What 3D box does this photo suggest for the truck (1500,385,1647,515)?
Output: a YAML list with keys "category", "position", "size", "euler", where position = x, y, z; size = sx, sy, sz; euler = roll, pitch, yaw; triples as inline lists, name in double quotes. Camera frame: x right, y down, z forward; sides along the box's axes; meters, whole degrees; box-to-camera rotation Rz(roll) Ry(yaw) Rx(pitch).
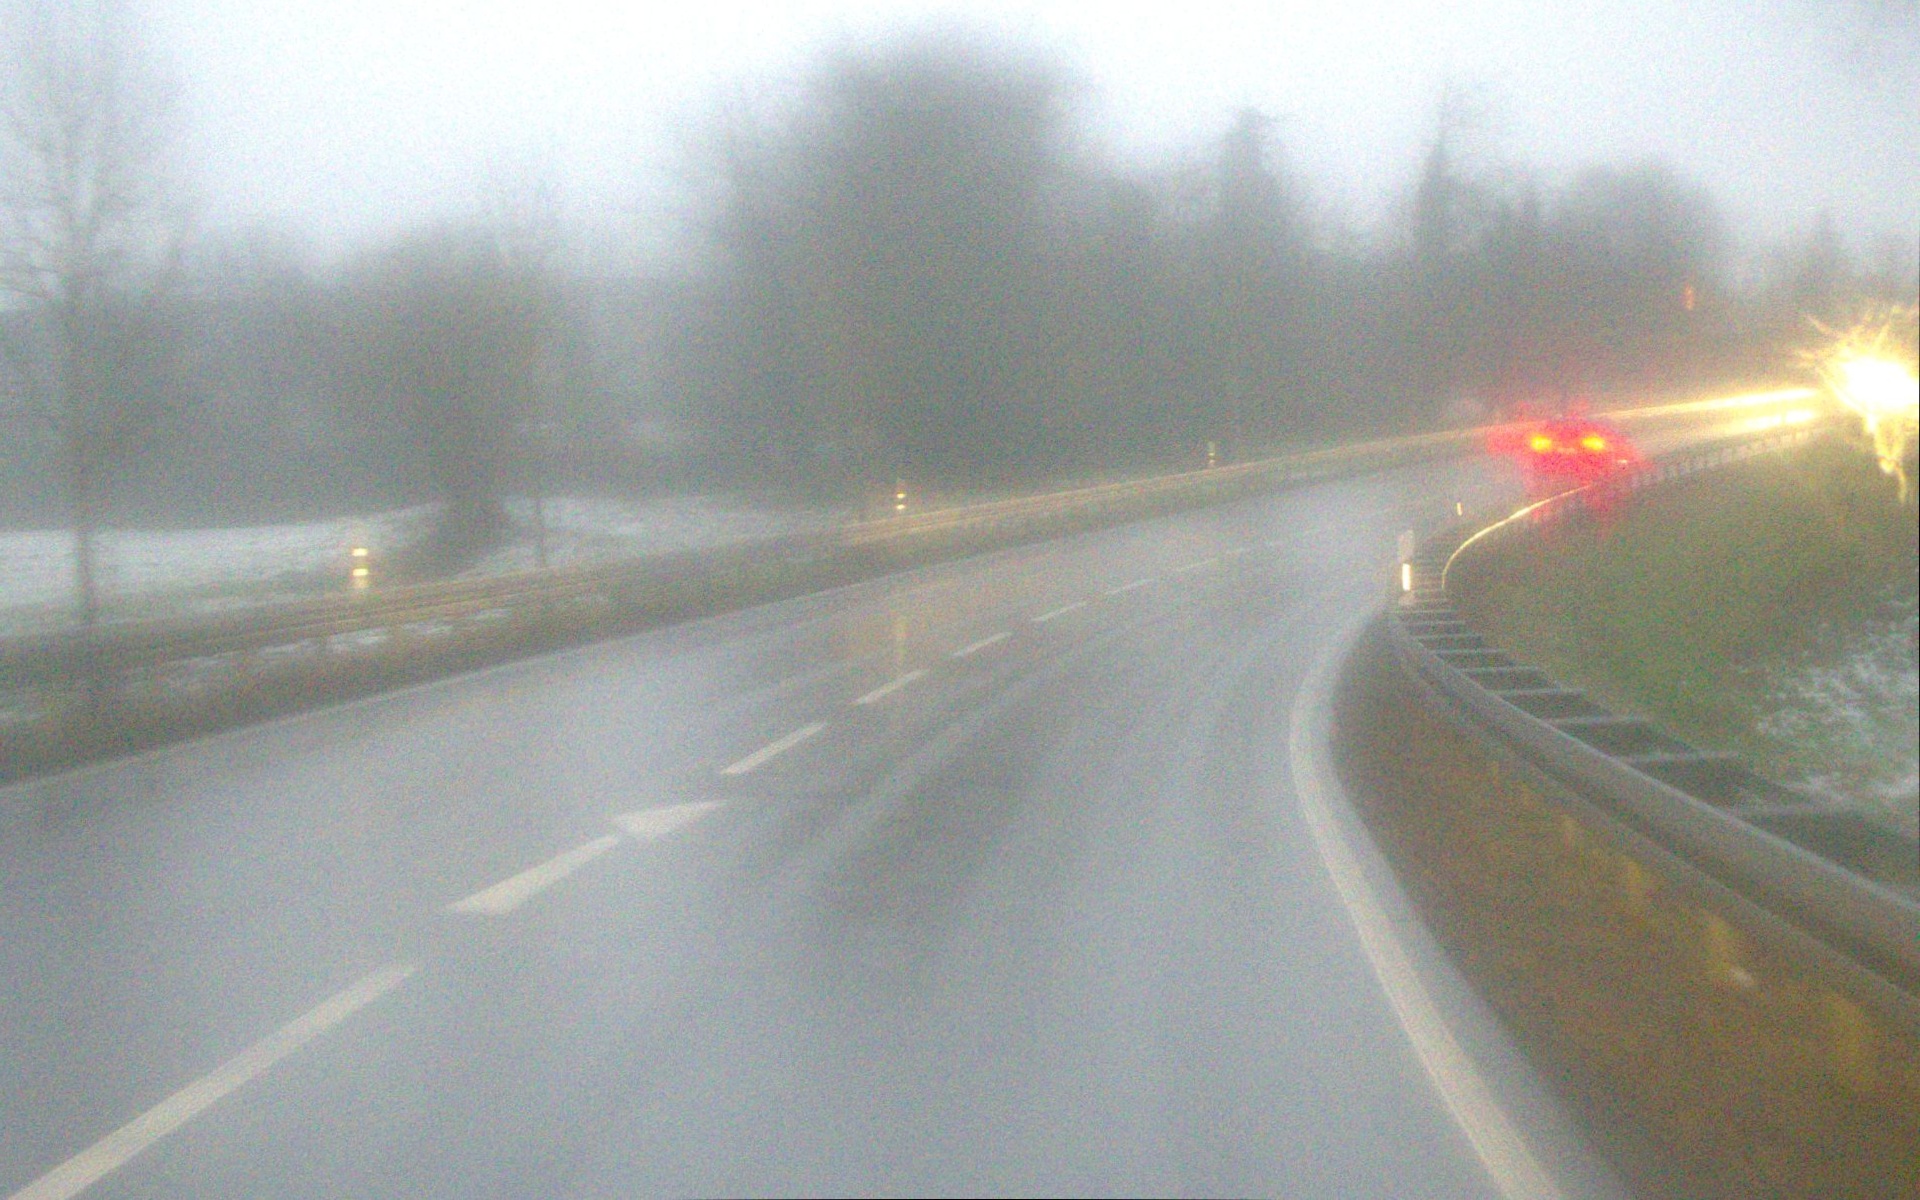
- category: "truck"
  position: [14.913, -3.672, 83.277]
  size: [2.534, 2.859, 5.918]
  euler: [-1, 4, 19]
